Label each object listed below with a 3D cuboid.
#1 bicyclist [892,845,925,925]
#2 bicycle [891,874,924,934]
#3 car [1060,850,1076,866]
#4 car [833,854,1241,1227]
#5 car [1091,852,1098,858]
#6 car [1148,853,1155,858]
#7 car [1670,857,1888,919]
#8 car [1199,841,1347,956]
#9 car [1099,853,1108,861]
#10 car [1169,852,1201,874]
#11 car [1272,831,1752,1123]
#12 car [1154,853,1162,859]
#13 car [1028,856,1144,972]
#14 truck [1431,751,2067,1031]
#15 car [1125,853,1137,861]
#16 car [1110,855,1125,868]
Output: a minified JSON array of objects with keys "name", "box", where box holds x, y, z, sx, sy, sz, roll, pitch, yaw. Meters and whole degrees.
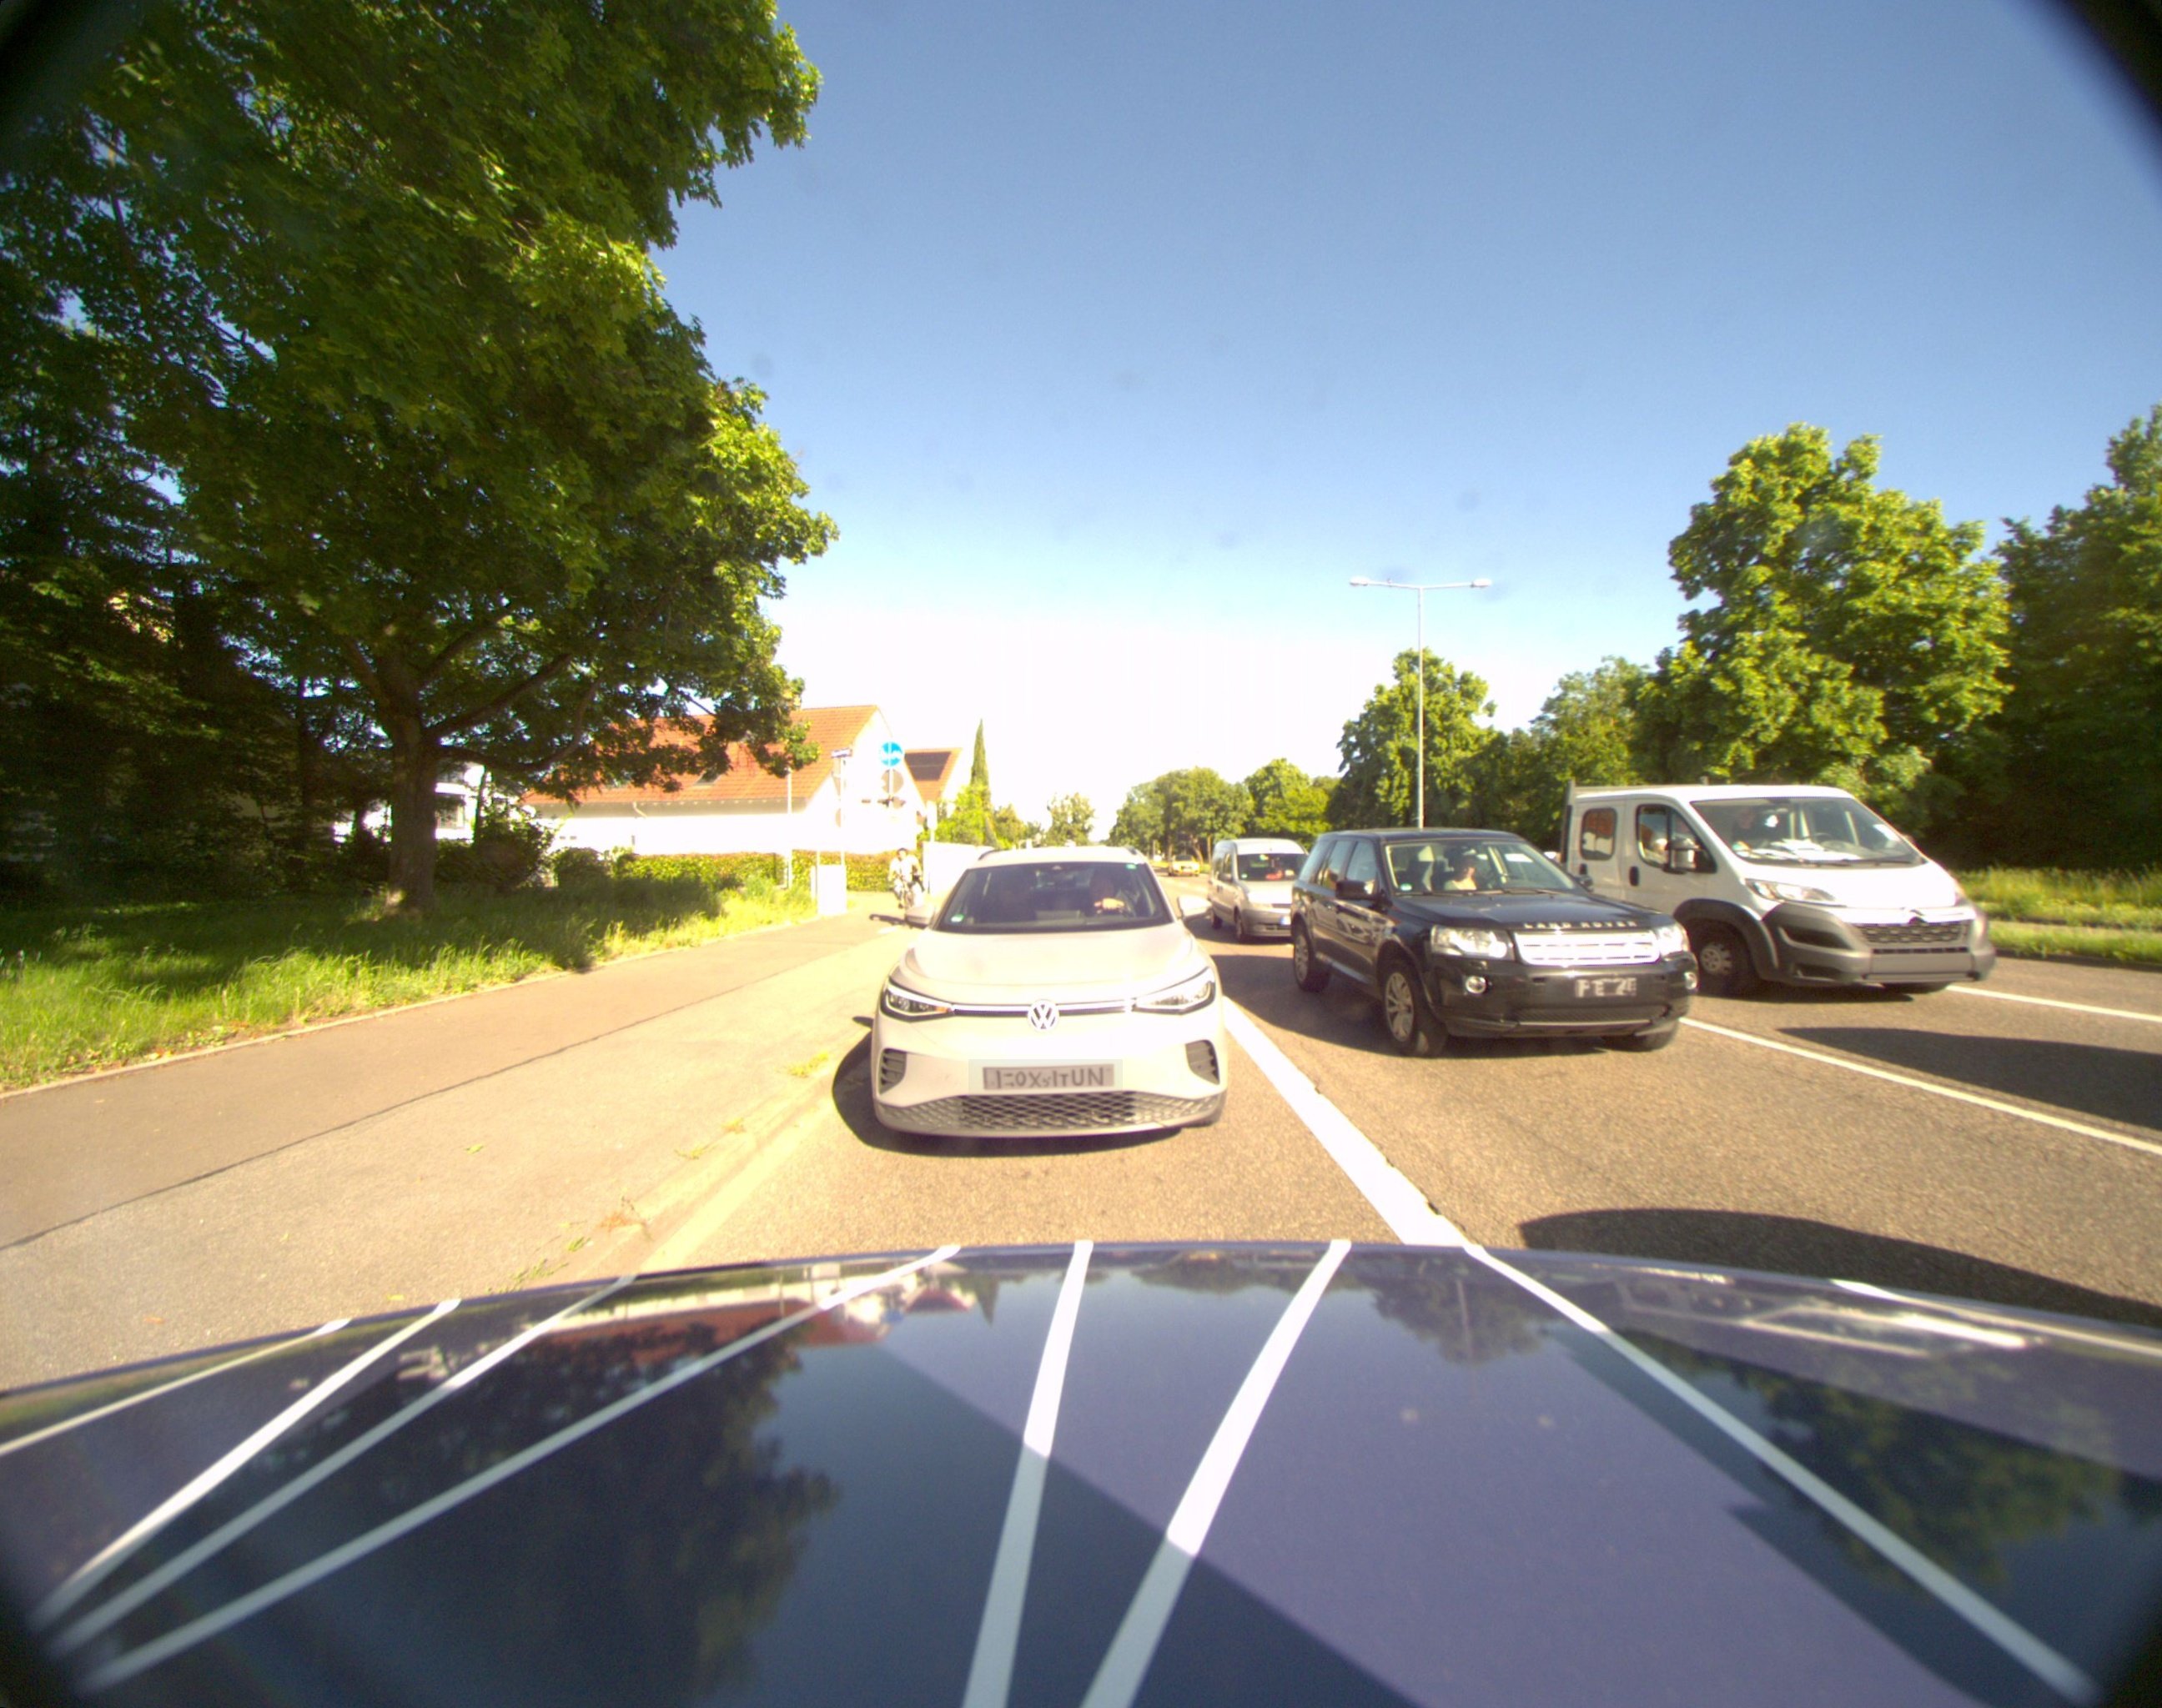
[{"name":"bicyclist","box":[-3.542,0.629,15.597,0.581,1.572,0.996,3,0,-13]},{"name":"bicycle","box":[-3.558,0.983,15.595,0.581,1.091,1.985,3,-1,-13]},{"name":"car","box":[-1.356,0.412,80.168,1.630,1.523,3.931,-1,0,0]},{"name":"car","box":[-0.176,0.856,5.584,1.858,1.679,4.206,0,1,1]},{"name":"car","box":[3.774,0.199,213.699,1.726,1.630,4.000,0,0,1]},{"name":"car","box":[20.966,0.360,226.471,1.792,1.409,4.000,0,0,1]},{"name":"car","box":[18.932,0.848,20.973,1.893,1.515,4.504,0,0,0]},{"name":"car","box":[3.318,0.663,13.974,1.632,1.741,4.386,-1,1,1]},{"name":"car","box":[4.387,0.548,147.302,1.726,1.630,4.000,0,0,1]},{"name":"car","box":[7.208,0.616,52.977,1.704,1.466,3.931,-1,0,0]},{"name":"car","box":[3.159,0.723,6.780,1.816,1.721,4.386,-1,1,1]},{"name":"car","box":[20.829,0.526,205.041,1.792,1.674,4.000,0,0,1]},{"name":"car","box":[0.102,0.874,13.028,1.632,1.586,4.024,-1,1,1]},{"name":"truck","box":[7.206,0.279,9.819,2.185,2.307,6.842,-2,1,0]},{"name":"car","box":[8.342,0.507,127.590,1.727,1.436,3.999,0,0,-1]},{"name":"car","box":[4.382,0.838,91.314,1.630,1.466,3.931,-1,0,0]}]
